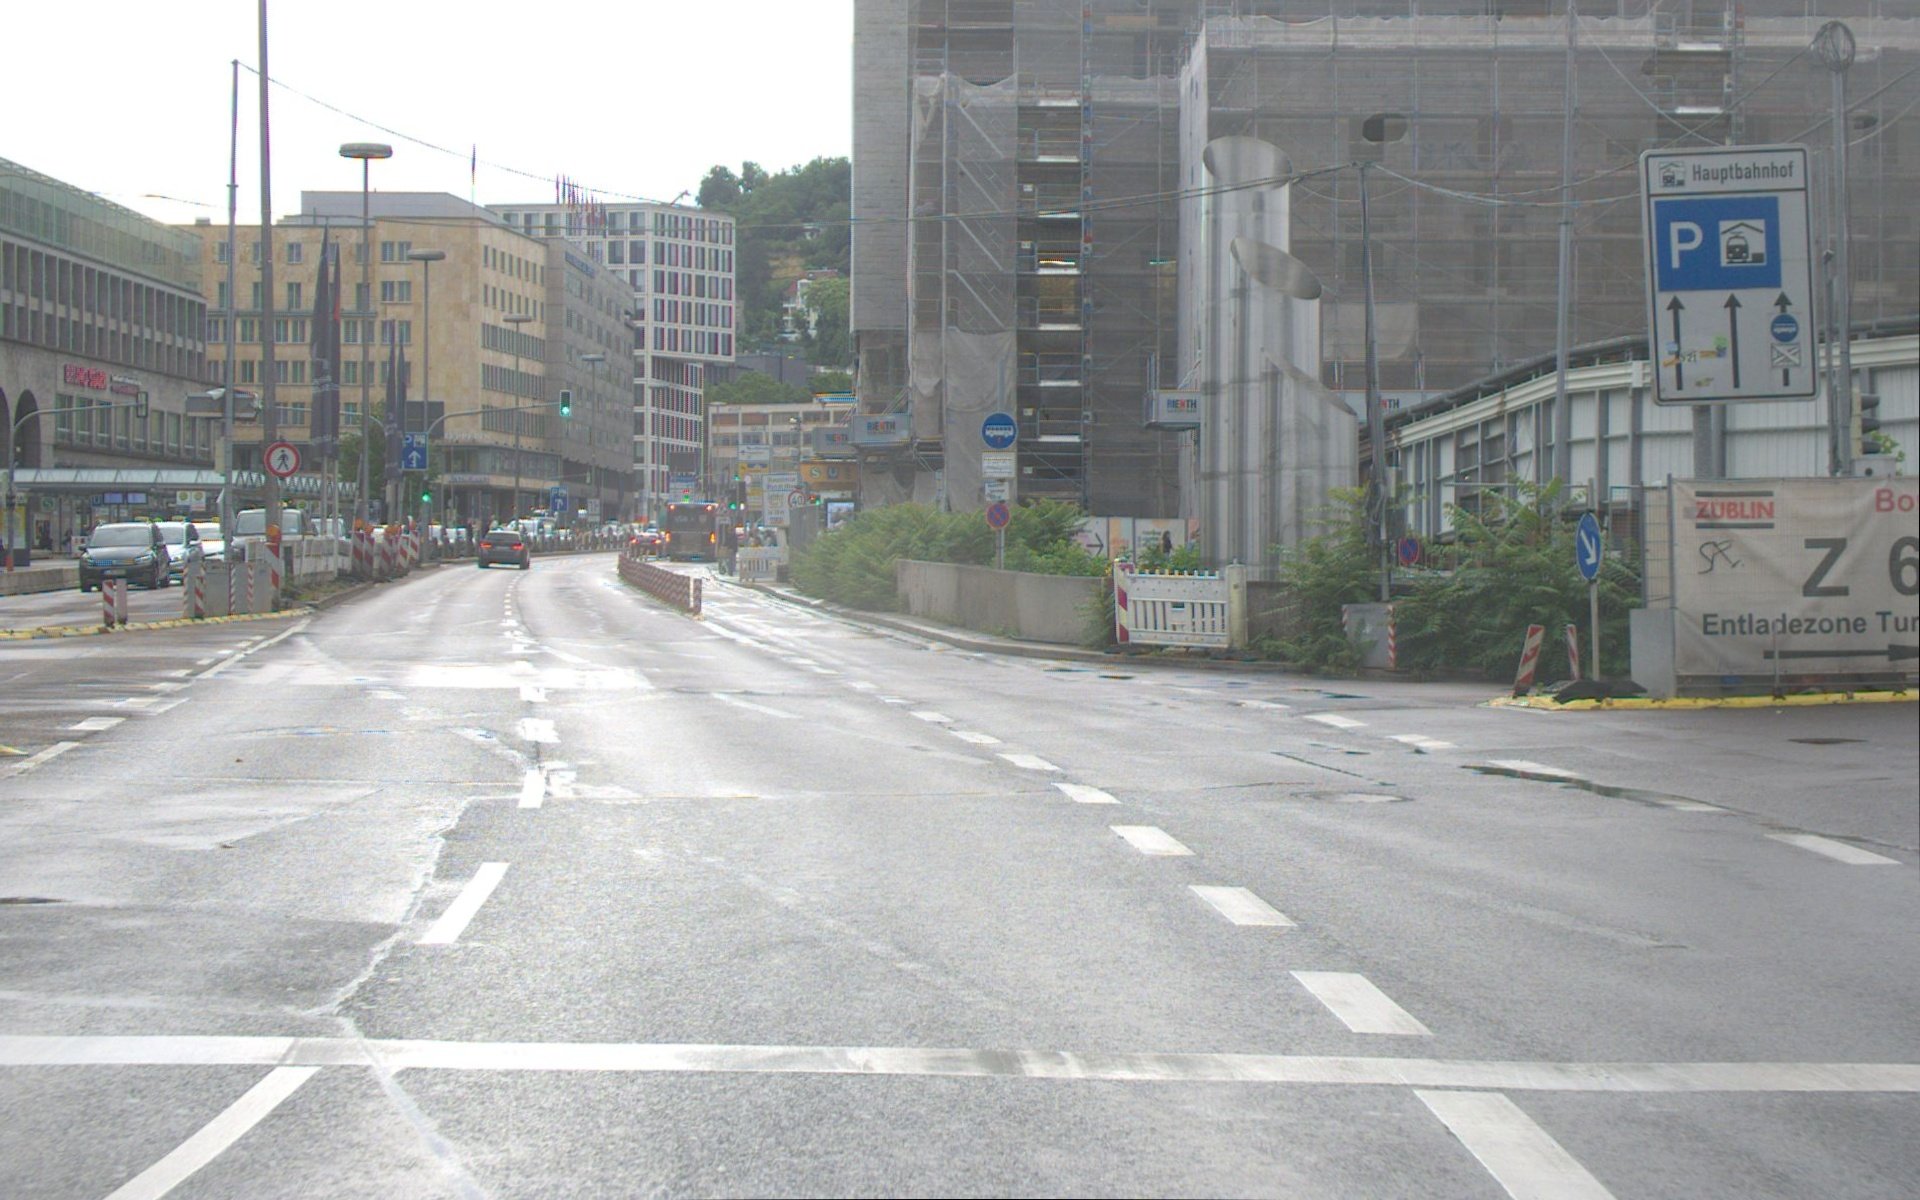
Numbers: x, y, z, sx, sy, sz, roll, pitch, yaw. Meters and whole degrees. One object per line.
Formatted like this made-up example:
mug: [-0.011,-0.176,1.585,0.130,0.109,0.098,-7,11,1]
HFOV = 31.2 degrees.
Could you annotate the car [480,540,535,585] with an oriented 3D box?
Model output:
car: [-17.144,-1.399,130.149,1.901,1.523,4.178,-1,-1,-9]

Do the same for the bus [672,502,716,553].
bus: [-13.739,-3.716,177.811,1.993,2.423,4.000,-1,-1,-1]

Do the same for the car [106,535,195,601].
car: [-20.947,-0.819,89.109,1.901,1.523,4.178,-1,-1,-9]

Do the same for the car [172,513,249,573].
car: [-21.400,-1.612,98.262,1.901,1.523,4.178,-1,-1,-9]

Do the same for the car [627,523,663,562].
car: [-17.883,-3.267,195.339,1.993,2.007,4.000,-1,-1,-5]

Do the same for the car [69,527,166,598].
car: [-20.350,-0.881,83.173,1.901,1.523,4.178,-1,-1,-9]

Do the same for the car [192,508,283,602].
car: [-17.399,-1.059,82.950,1.901,2.075,4.178,-1,-1,-9]
